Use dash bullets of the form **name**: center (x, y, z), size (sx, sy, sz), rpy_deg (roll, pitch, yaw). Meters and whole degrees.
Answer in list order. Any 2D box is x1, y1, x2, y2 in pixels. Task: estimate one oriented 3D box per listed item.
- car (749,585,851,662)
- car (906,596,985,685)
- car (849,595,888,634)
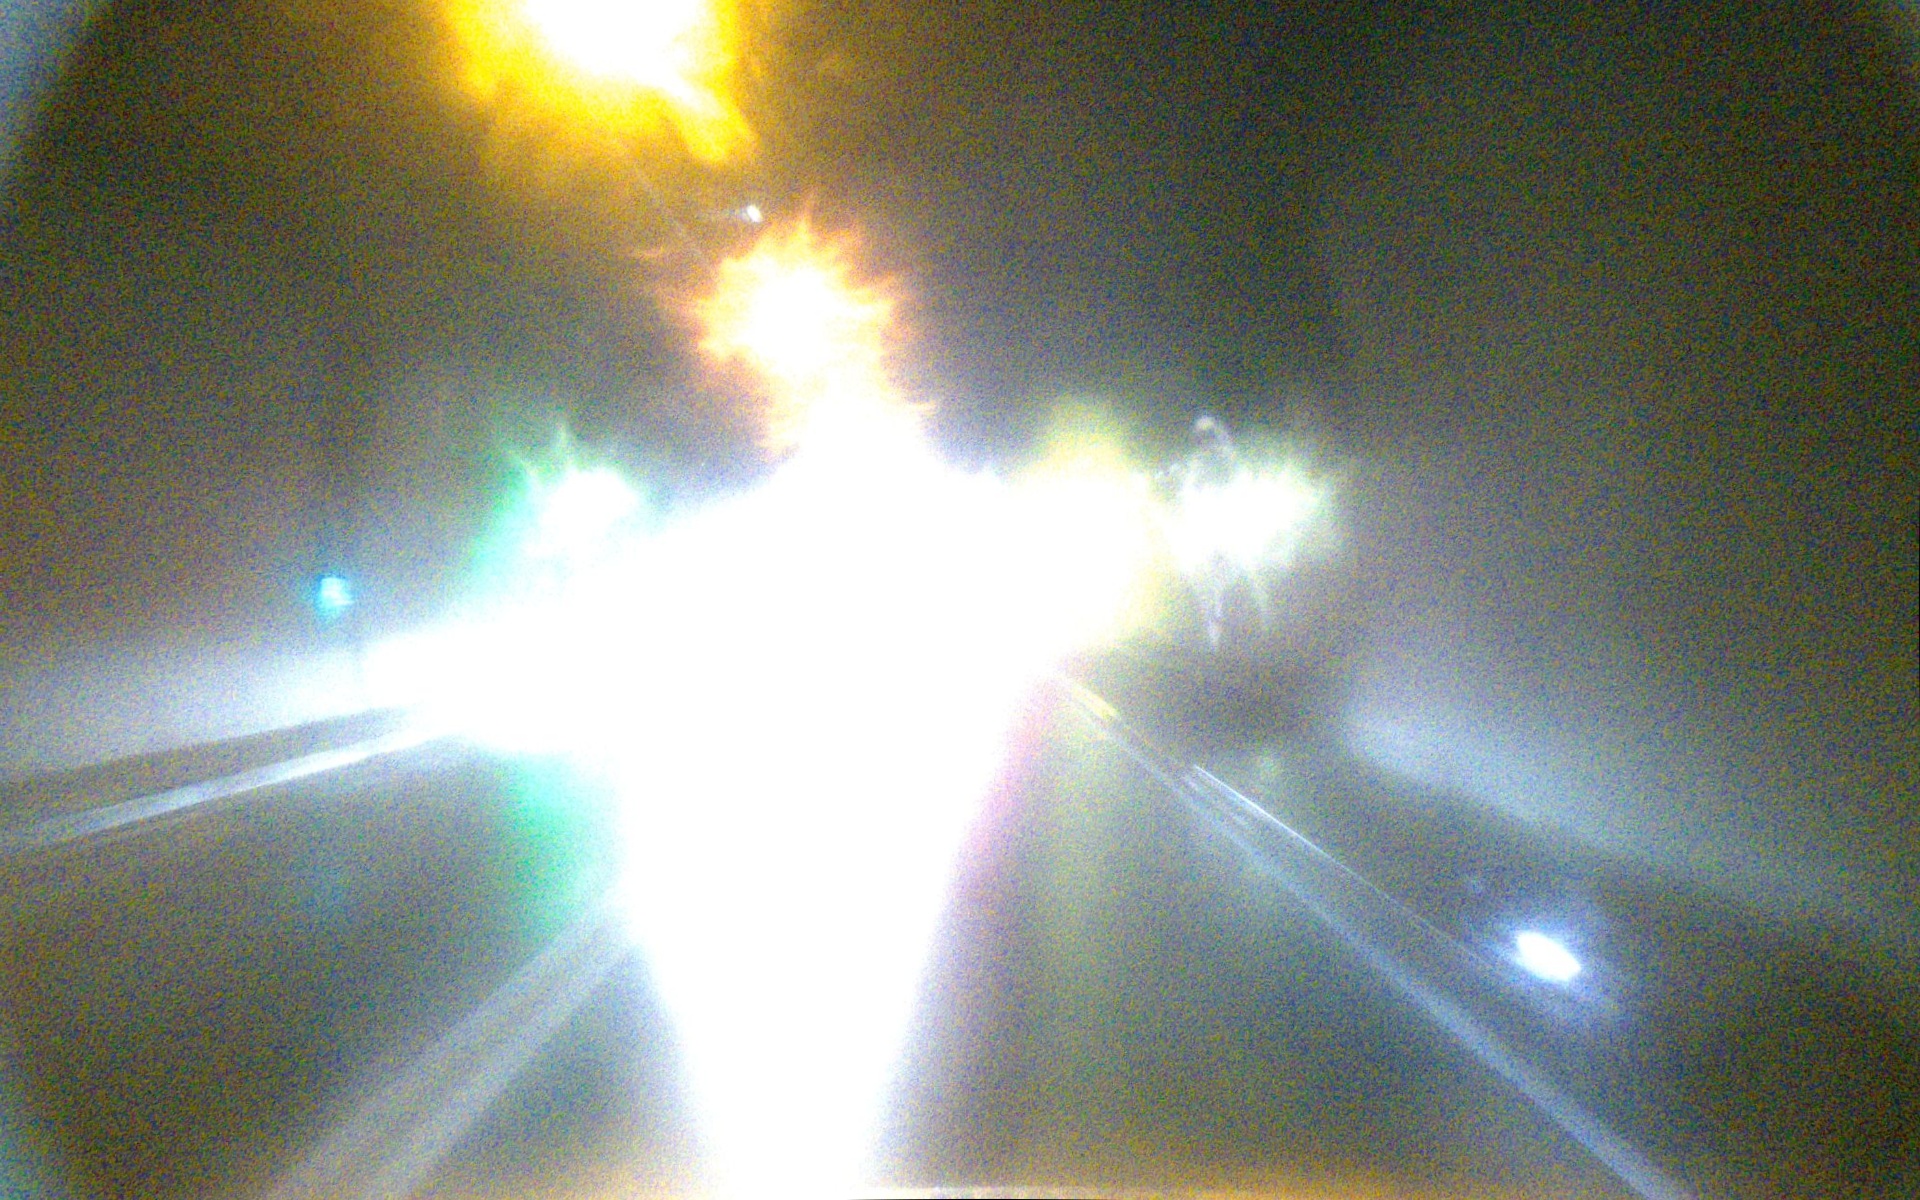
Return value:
- **car**: center (-3.275, 0.450, 34.681), size (1.713, 1.506, 4.475), rpy_deg (0, 0, 0)
- **car**: center (-0.307, 0.826, 35.865), size (1.602, 1.788, 4.145), rpy_deg (0, 0, 0)
- **car**: center (-4.065, 0.623, 73.764), size (1.489, 1.576, 4.054), rpy_deg (0, 1, 0)
